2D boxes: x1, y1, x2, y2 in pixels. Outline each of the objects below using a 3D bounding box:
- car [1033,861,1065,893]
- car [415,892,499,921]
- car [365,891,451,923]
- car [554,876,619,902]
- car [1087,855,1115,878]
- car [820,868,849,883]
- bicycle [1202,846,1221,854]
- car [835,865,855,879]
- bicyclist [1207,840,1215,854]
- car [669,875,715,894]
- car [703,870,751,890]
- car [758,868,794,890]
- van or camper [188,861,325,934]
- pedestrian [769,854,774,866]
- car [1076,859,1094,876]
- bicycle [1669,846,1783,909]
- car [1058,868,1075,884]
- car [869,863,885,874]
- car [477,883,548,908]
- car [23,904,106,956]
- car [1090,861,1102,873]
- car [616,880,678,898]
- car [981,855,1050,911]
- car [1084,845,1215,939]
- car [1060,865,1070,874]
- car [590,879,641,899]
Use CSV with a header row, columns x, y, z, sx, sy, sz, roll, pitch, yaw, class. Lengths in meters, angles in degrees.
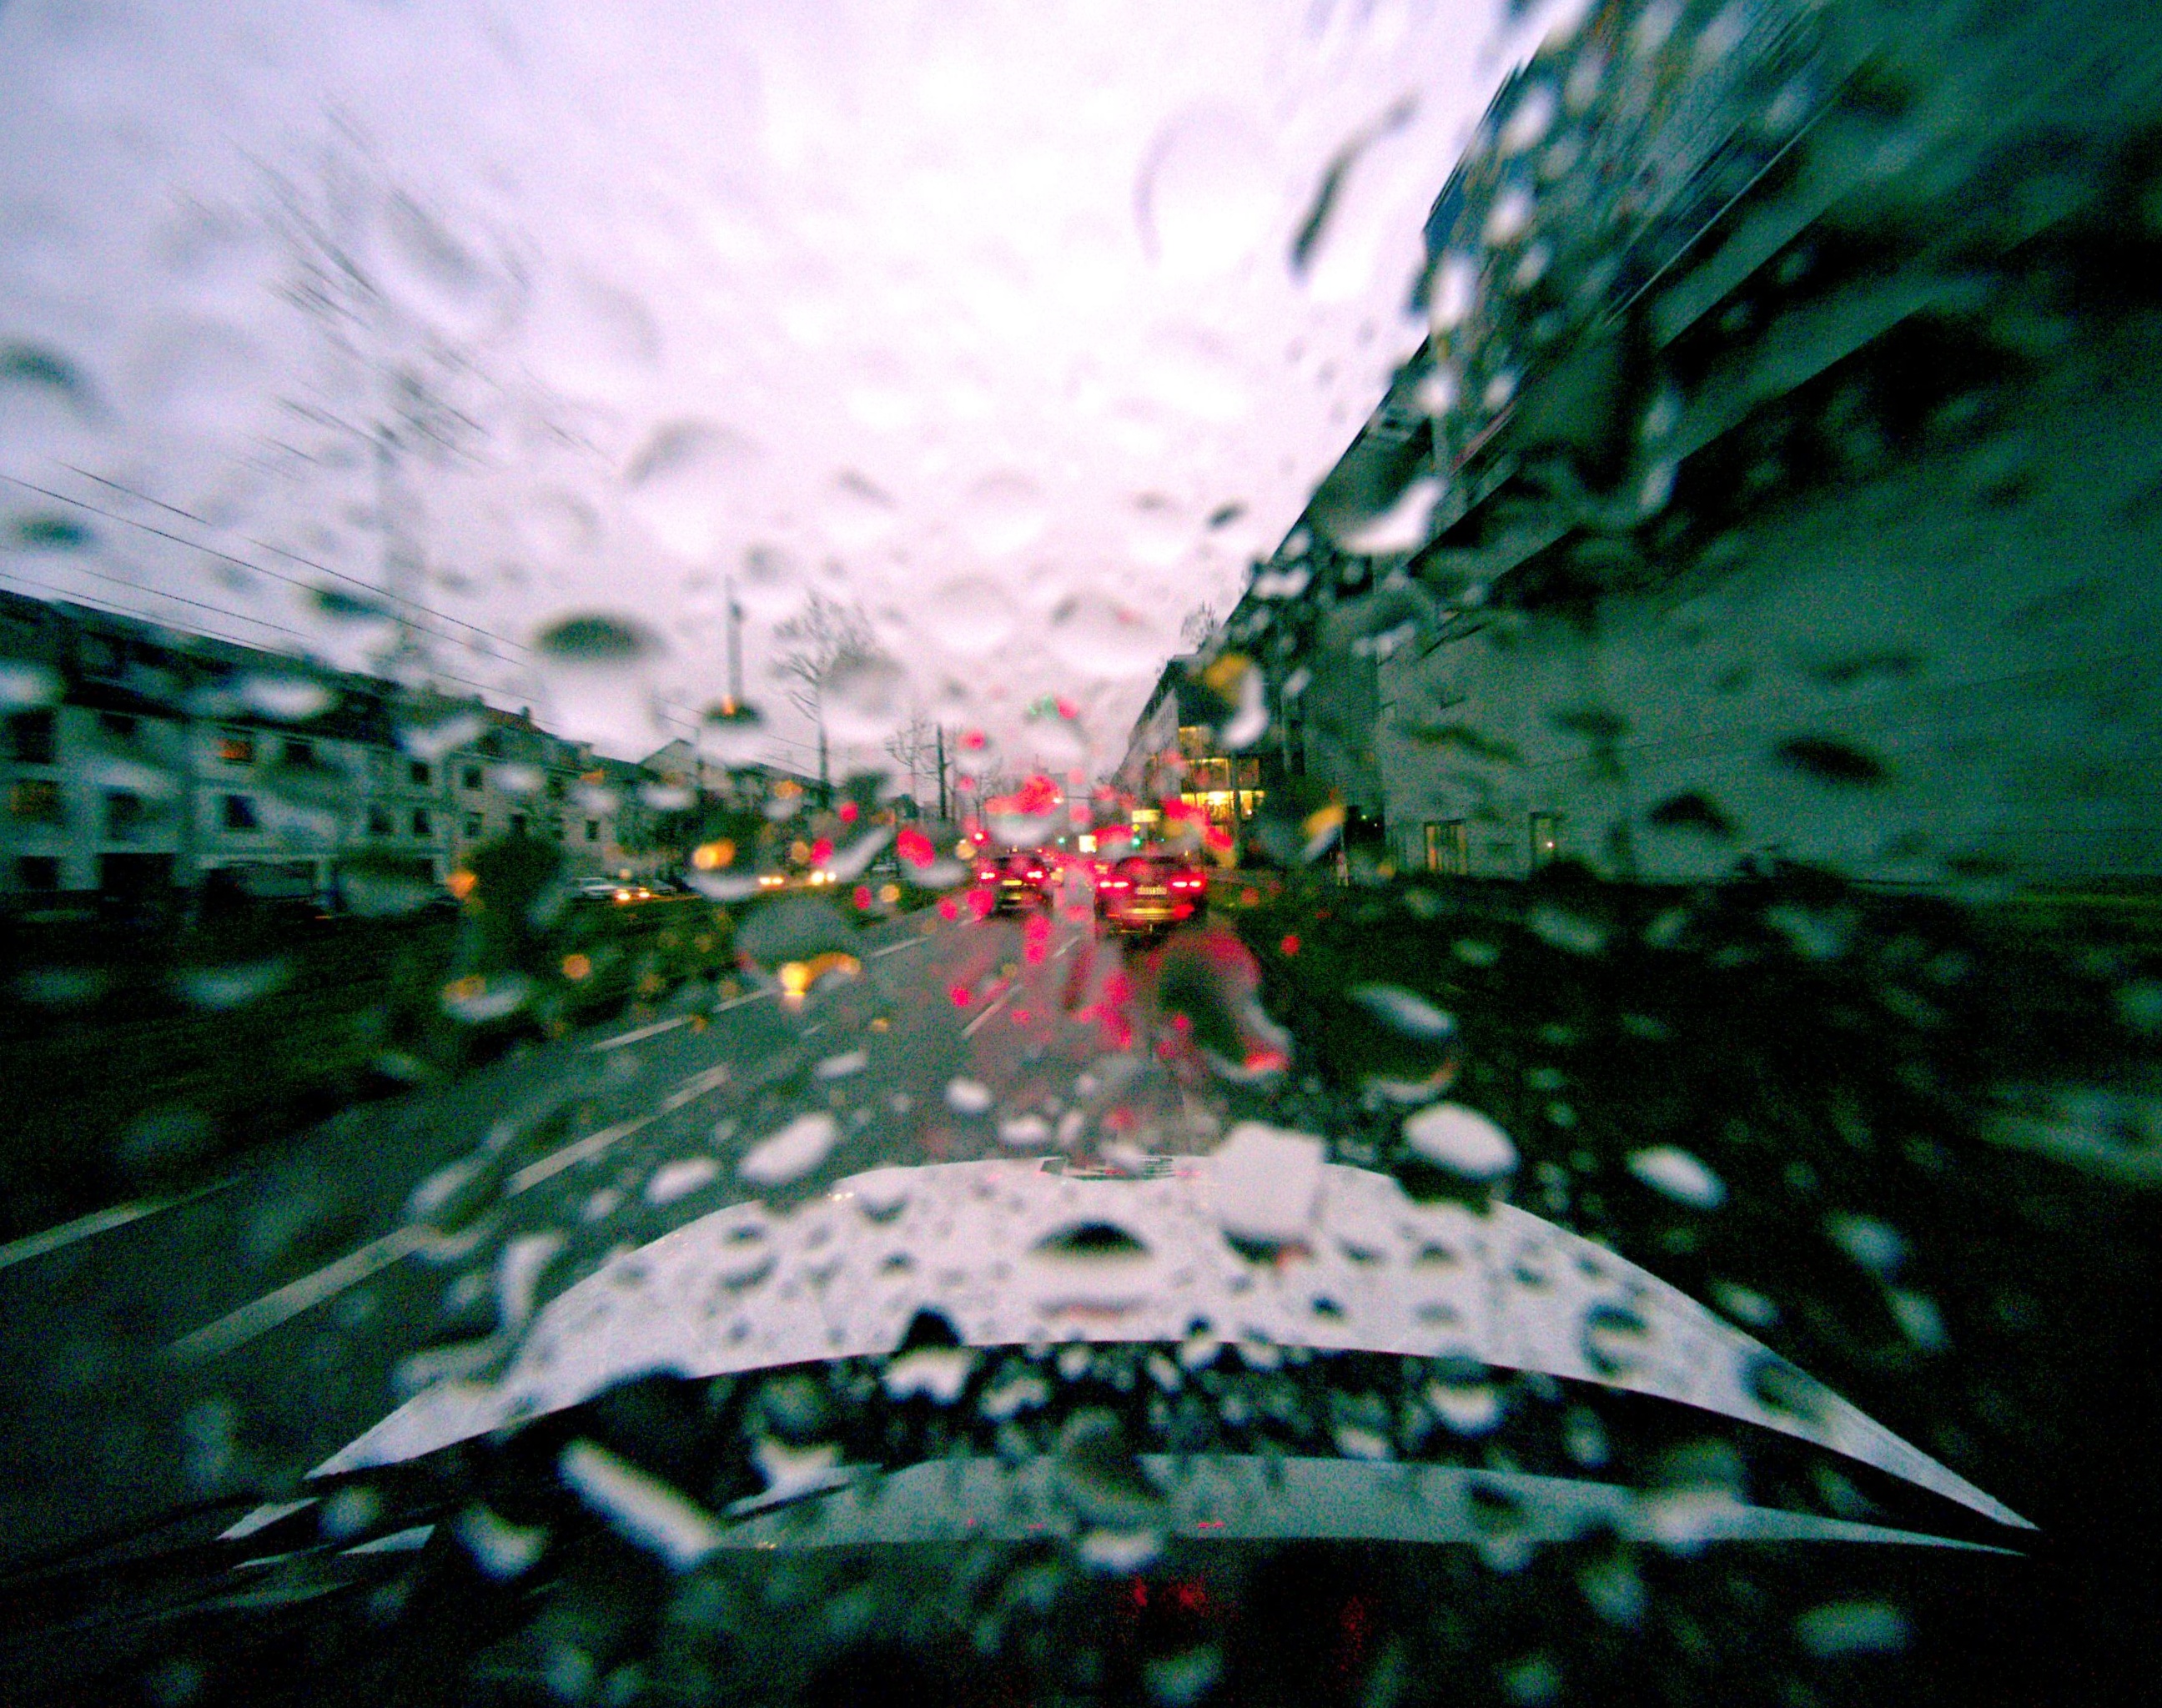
x,y,z,sx,sy,sz,roll,pitch,yaw,class
-1.732,1.244,44.601,1.685,1.635,3.471,-1,0,-2,car
-29.174,2.430,38.088,3.495,1.200,1.894,-1,0,30,car
-29.292,2.293,35.421,3.495,1.212,1.758,-1,0,30,car
-29.245,2.044,48.101,4.071,1.378,1.784,-1,0,35,car
1.378,0.845,55.973,1.860,1.543,3.611,-1,0,1,car
-26.532,2.296,87.773,1.875,1.502,4.786,-1,0,-2,car
12.767,-0.389,79.806,1.711,0.745,0.655,-1,0,32,bicycle
-33.531,2.554,115.996,1.990,2.014,3.993,0,0,-5,car
12.716,-0.706,79.853,0.615,1.330,0.569,-1,-1,31,bicyclist
-29.637,2.344,62.027,3.719,1.337,1.463,-2,0,34,car
-29.519,2.163,67.917,3.749,1.555,1.753,-1,0,31,car
-24.249,1.945,64.875,1.609,1.623,3.507,-1,0,-1,car
-29.681,1.458,29.239,6.792,2.360,2.013,-1,0,32,van or camper
-31.676,0.616,83.249,0.348,1.184,0.429,0,-1,-42,pedestrian
0.339,1.265,75.382,1.619,1.498,3.524,-1,0,-1,car
11.824,0.428,14.938,1.805,1.052,0.396,-3,0,-4,bicycle
-1.447,2.155,81.195,1.610,1.522,3.406,-1,0,-1,car
-33.007,2.350,132.070,1.929,1.597,3.721,-1,0,-5,car
-29.038,2.077,41.604,3.375,1.147,1.702,-1,0,30,car
-28.356,2.077,22.768,2.851,1.204,1.397,-1,0,40,car
2.020,1.758,109.814,1.609,1.571,3.352,-1,0,2,car
-29.115,2.311,54.617,4.136,1.116,1.691,-1,0,29,car
-1.847,0.780,23.624,1.813,1.450,3.995,-1,0,-3,car
1.115,0.628,14.937,1.988,1.483,3.697,-1,-1,-2,car
-2.408,2.294,121.858,1.376,1.248,2.758,-1,0,2,car
-29.369,2.189,51.389,3.006,1.147,1.406,-1,0,29,car
